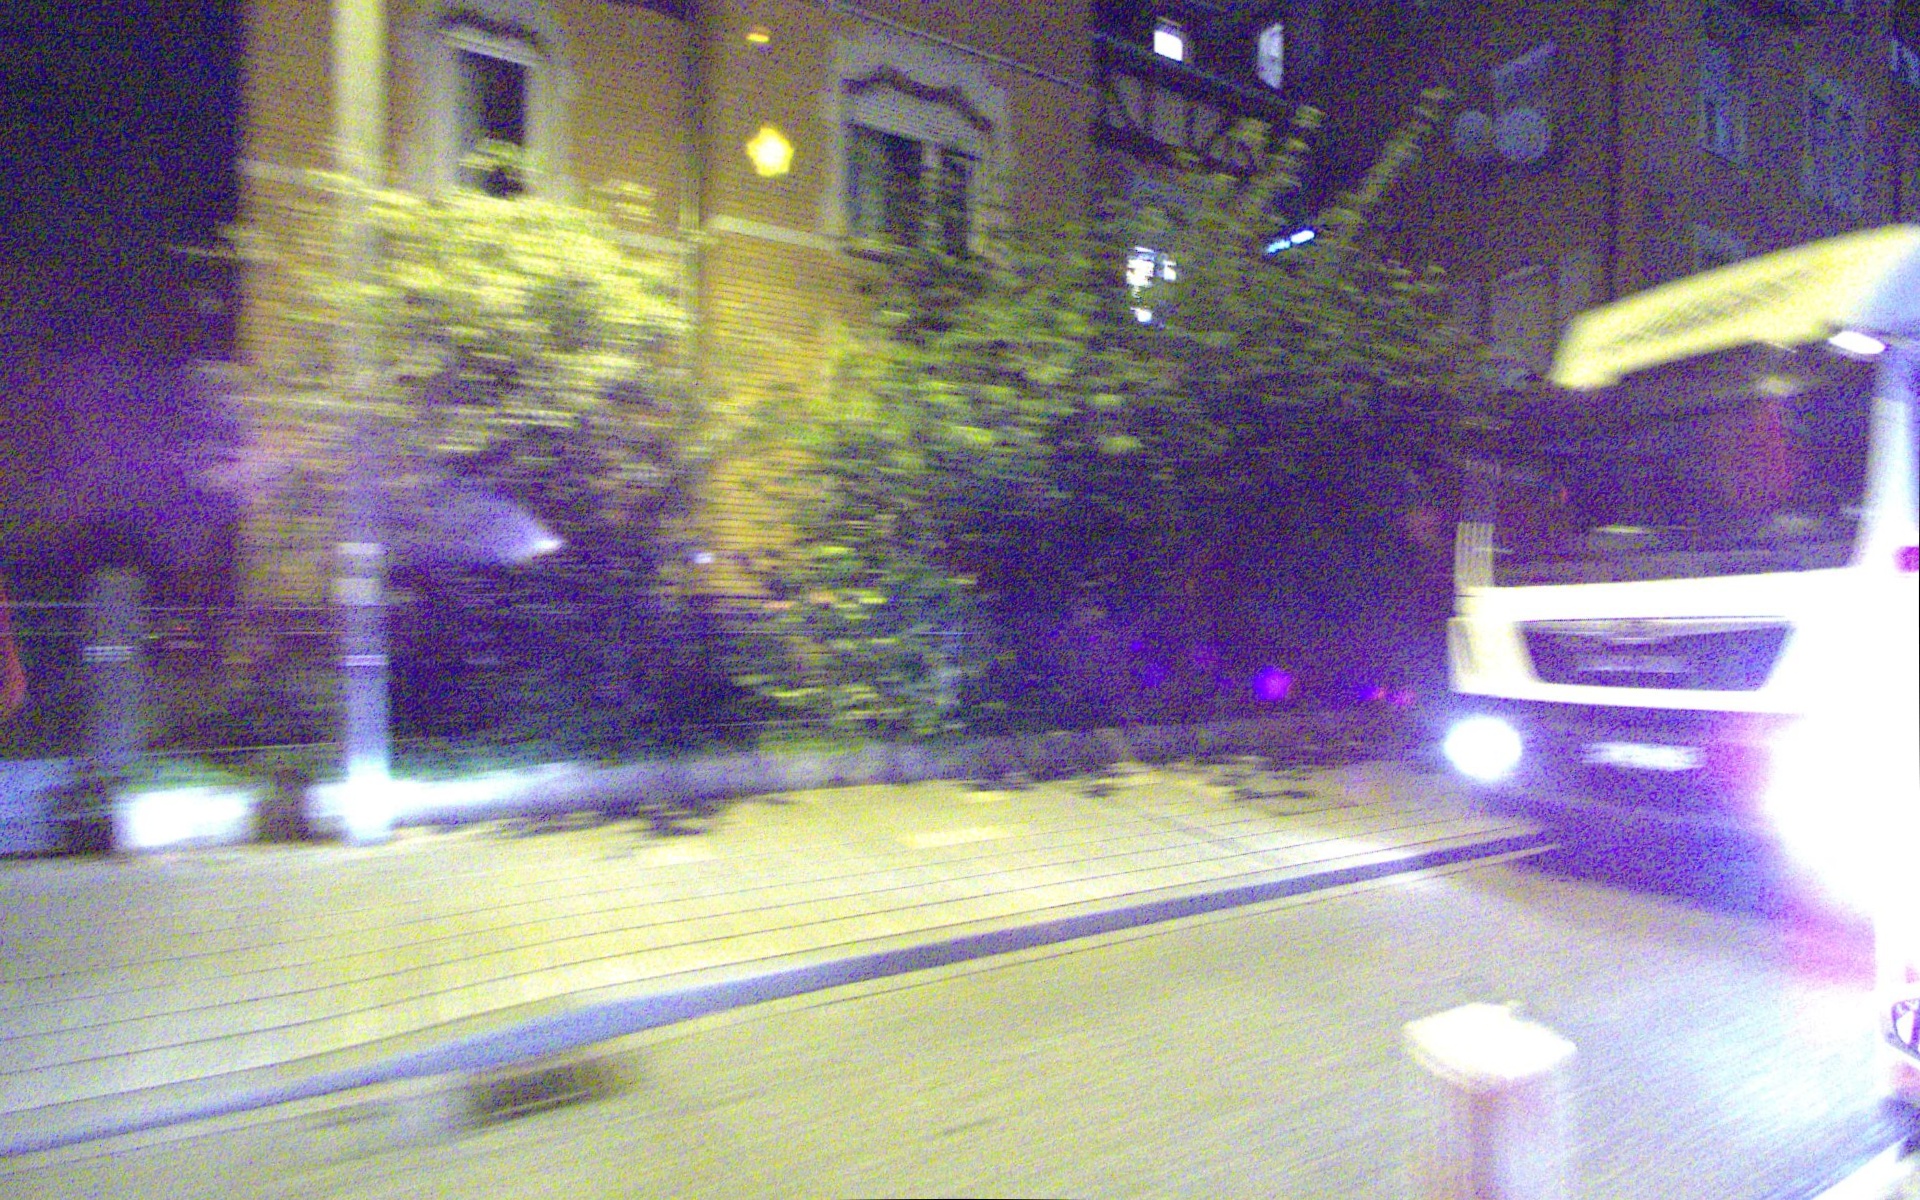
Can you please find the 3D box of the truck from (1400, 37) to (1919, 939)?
[{"bbox_3d":[7.864,-0.375,7.608,9.986,3.767,2.744,1,-2,-28],"label":"truck"}]
